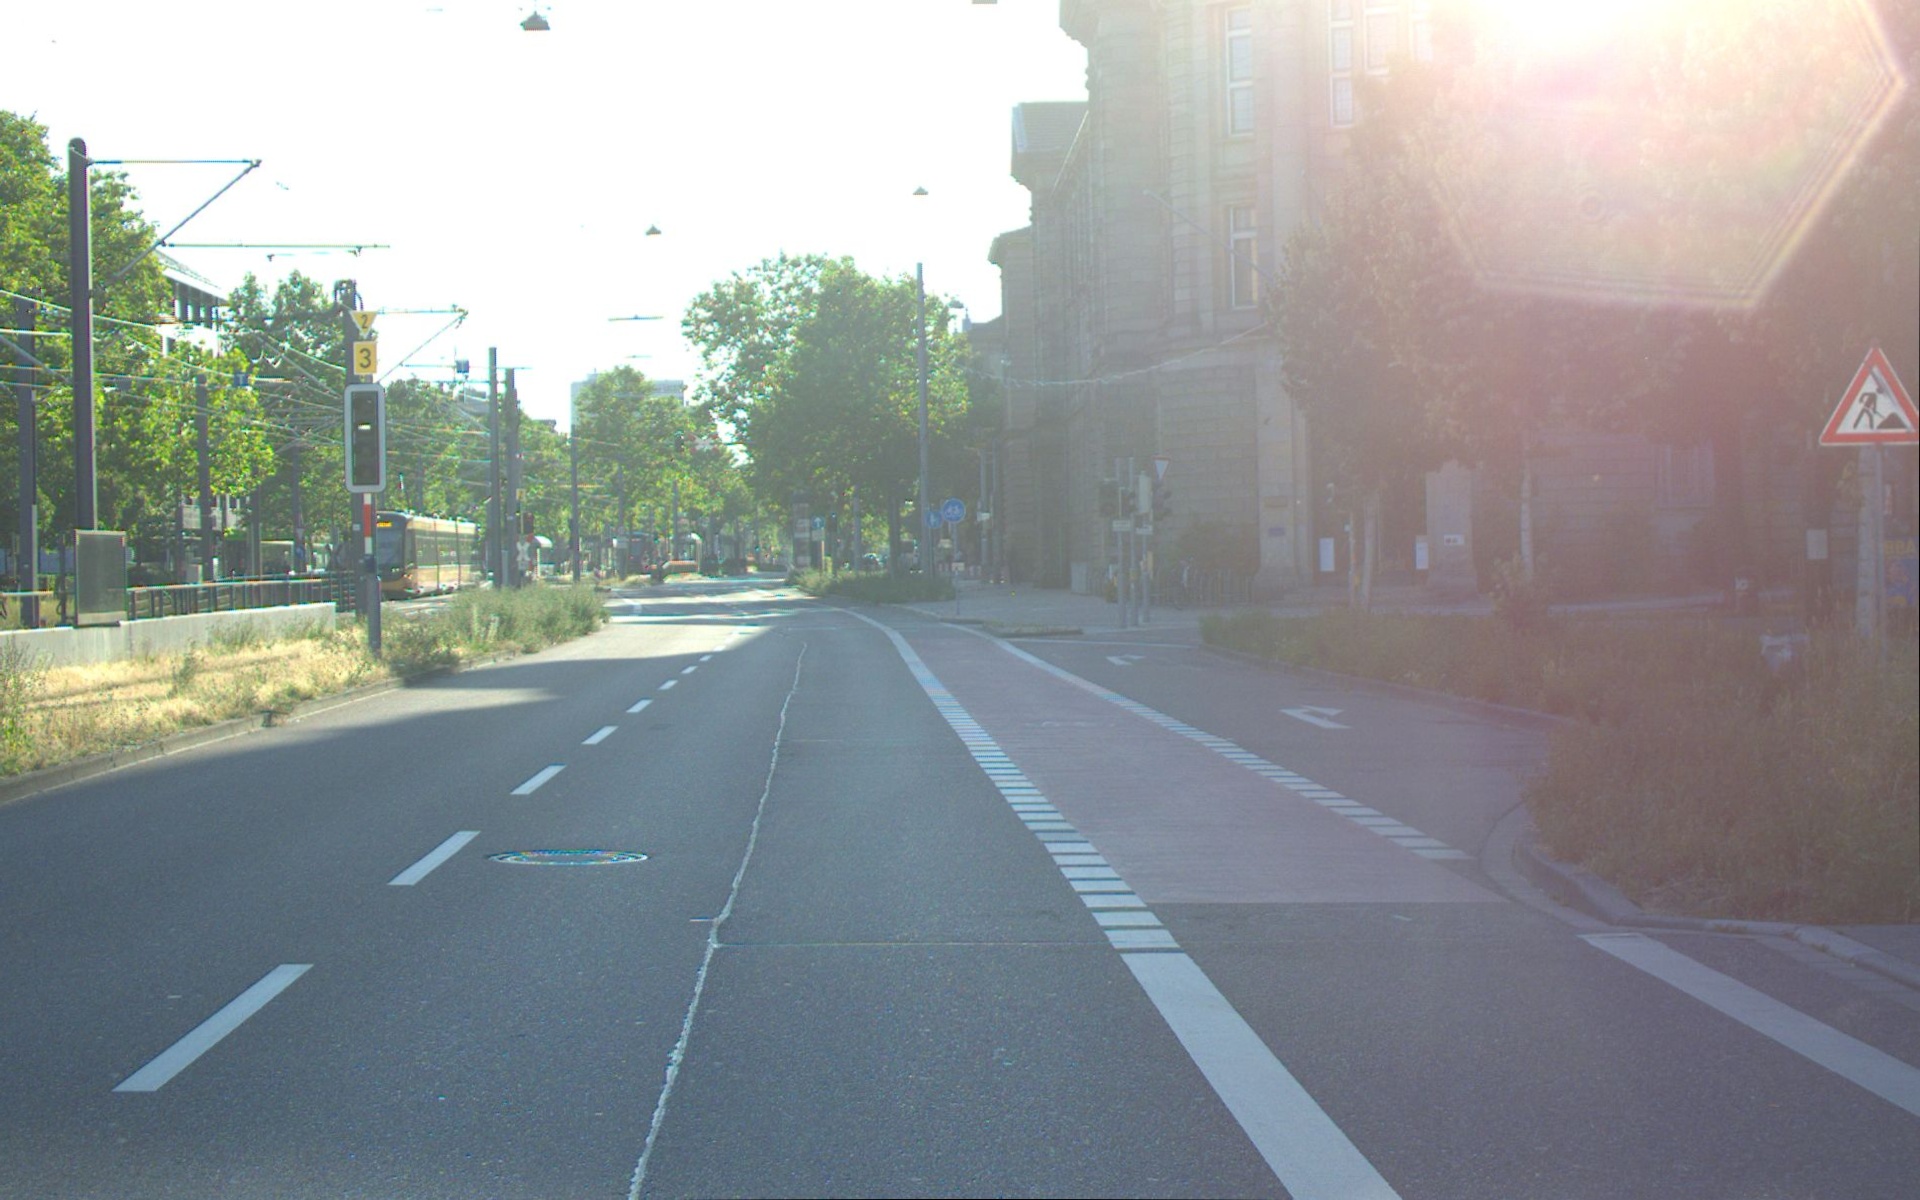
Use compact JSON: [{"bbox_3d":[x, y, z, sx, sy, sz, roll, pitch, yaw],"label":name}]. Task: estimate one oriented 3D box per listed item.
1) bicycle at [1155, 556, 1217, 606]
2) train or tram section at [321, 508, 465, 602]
[{"bbox_3d":[5.618,-0.489,85.483,0.867,1.192,2.237,-1,1,21],"label":"bicycle"},{"bbox_3d":[-23.193,-1.832,141.703,3.112,3.547,17.479,-1,1,-1],"label":"train or tram section"}]
